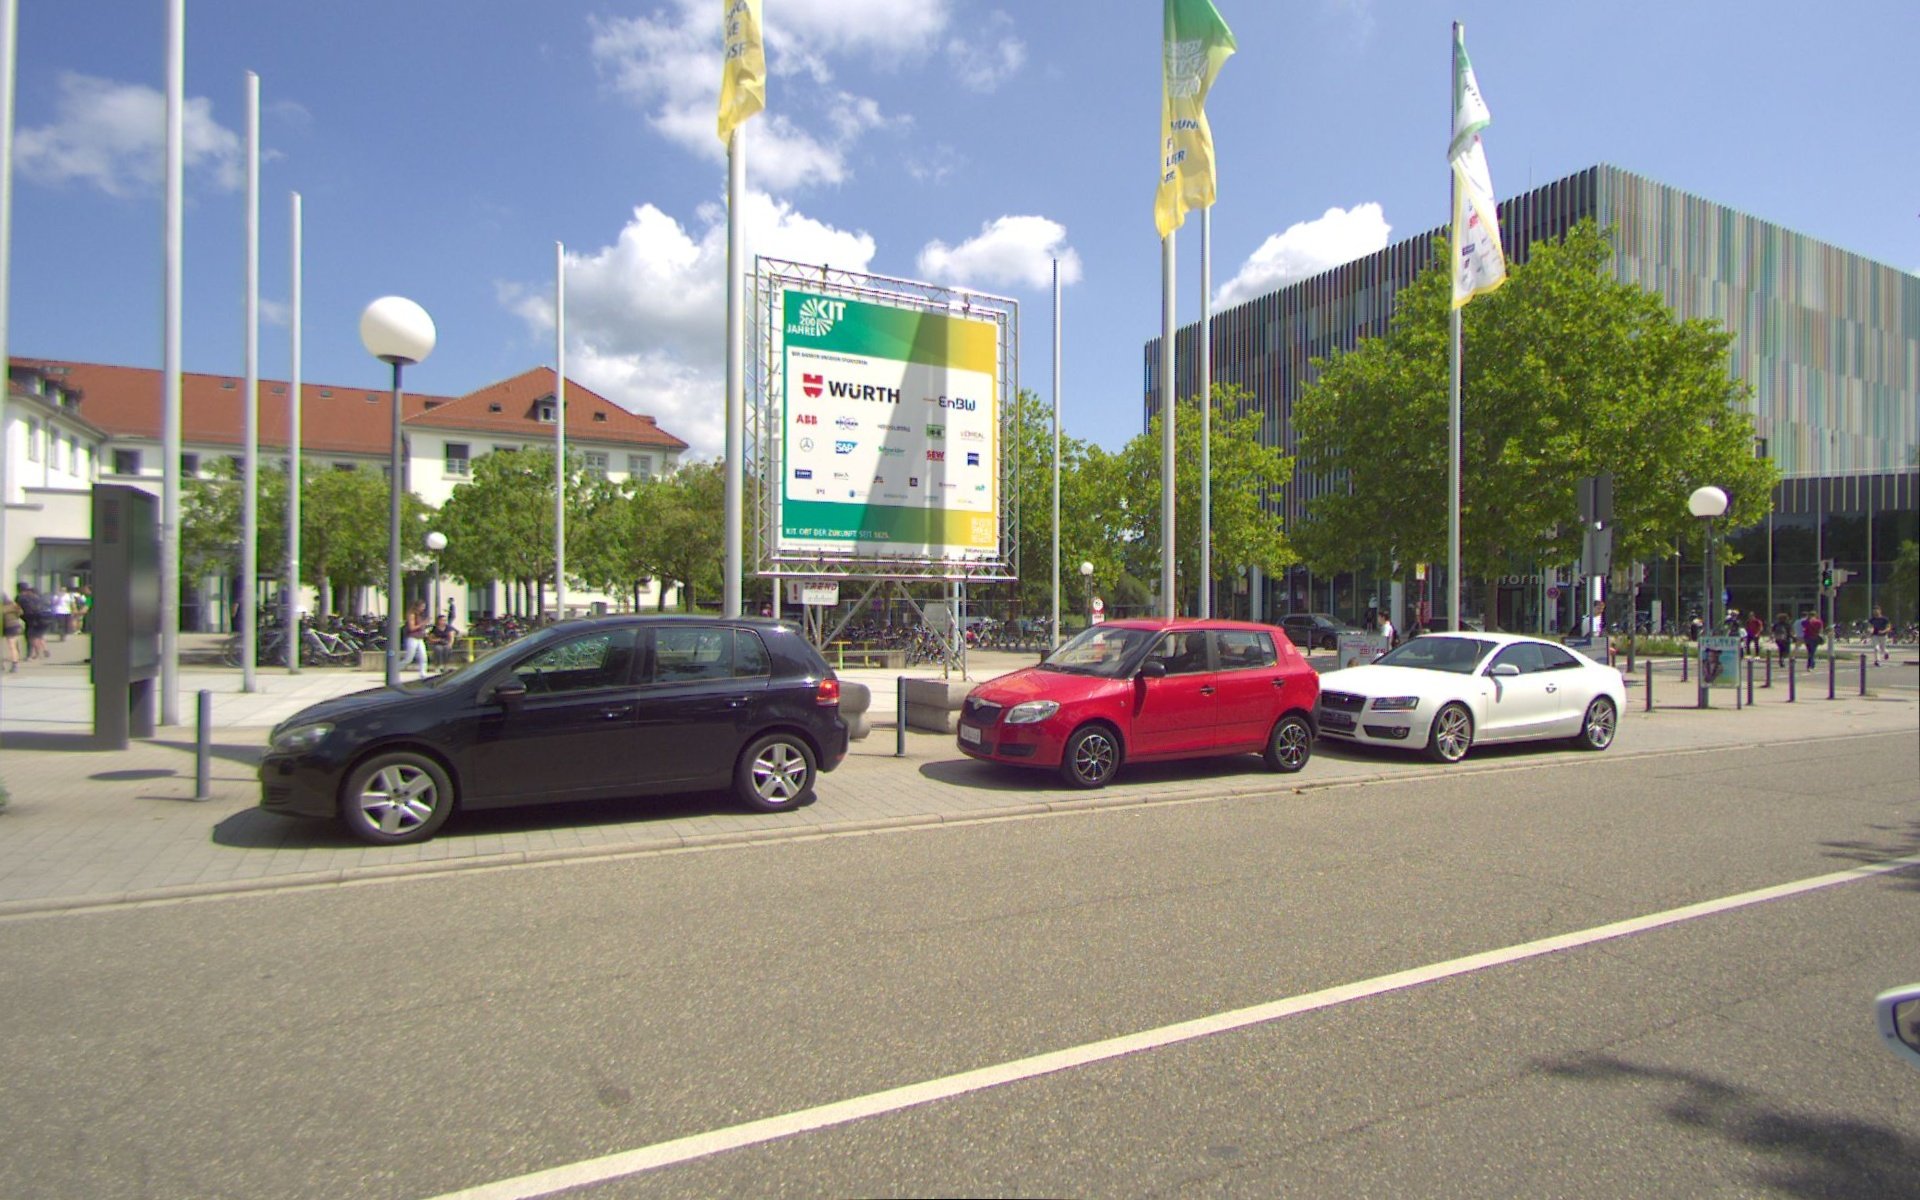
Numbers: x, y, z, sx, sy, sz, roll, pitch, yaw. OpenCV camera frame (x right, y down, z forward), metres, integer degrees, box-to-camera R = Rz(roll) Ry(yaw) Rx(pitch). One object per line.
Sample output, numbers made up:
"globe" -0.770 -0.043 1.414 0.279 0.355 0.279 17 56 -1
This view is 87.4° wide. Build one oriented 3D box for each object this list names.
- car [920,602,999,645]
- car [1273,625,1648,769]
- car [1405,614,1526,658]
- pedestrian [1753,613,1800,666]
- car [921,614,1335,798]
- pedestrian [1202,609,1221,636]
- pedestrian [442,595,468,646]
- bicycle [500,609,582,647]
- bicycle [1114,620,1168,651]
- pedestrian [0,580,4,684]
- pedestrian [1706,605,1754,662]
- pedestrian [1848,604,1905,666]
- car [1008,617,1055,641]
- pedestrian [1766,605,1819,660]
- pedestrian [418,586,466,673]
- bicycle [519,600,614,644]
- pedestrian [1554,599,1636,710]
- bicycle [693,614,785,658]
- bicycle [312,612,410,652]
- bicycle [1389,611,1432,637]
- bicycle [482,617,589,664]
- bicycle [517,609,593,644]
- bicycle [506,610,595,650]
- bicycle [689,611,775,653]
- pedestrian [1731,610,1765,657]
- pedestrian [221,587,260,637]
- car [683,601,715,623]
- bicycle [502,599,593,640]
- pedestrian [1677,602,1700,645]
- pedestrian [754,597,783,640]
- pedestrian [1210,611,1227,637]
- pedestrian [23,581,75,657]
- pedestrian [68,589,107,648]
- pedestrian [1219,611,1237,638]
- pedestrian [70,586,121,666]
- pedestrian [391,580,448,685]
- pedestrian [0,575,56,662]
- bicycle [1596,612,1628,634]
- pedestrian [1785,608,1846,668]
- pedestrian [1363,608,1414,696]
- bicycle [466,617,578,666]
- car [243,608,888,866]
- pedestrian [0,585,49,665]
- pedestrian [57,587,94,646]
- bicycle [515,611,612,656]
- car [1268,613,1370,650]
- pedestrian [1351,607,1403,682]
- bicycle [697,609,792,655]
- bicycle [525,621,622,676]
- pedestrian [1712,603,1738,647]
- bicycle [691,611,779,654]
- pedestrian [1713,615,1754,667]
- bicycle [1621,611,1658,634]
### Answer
"car" -0.072 1.130 49.125 1.843 1.965 4.740 0 -1 -29
"car" 6.129 1.050 12.199 4.602 1.414 1.670 1 1 -27
"car" 20.442 1.433 40.813 1.631 1.683 4.268 0 -1 -26
"pedestrian" 26.639 1.276 32.767 0.846 1.676 0.827 0 0 -8
"car" 1.712 0.930 10.083 3.860 1.487 1.670 1 1 -27
"pedestrian" 21.051 1.869 84.024 1.114 2.205 0.969 1 0 -28
"pedestrian" -22.690 0.921 45.122 1.029 2.229 1.016 0 -1 -29
"bicycle" -16.526 1.108 39.722 2.906 1.430 1.061 1 0 -20
"bicycle" 7.181 1.392 39.984 0.657 1.128 2.597 1 0 -29
"pedestrian" -16.821 0.544 17.058 0.727 1.780 0.756 0 -1 39
"pedestrian" 26.334 1.143 34.376 0.987 1.901 0.855 0 -1 -5
"pedestrian" 28.989 1.097 31.775 1.377 1.880 0.702 -1 0 -19
"car" 4.788 1.925 67.518 1.616 1.506 3.981 0 -1 -21
"pedestrian" 28.383 1.113 34.258 1.075 1.843 0.863 0 -1 -4
"pedestrian" -12.102 0.680 23.472 0.934 1.966 0.980 1 -1 -31
"bicycle" -13.417 0.756 34.359 2.903 1.430 1.062 1 0 -17
"pedestrian" 11.126 0.933 17.606 1.073 1.876 0.718 0 1 -24
"bicycle" -7.440 1.196 33.861 2.906 1.430 1.061 1 0 -20
"bicycle" -22.126 1.174 37.194 2.906 1.430 1.143 1 0 -20
"bicycle" 32.697 1.758 72.972 2.904 1.863 1.014 1 0 -18
"bicycle" -13.422 1.264 31.842 2.895 1.430 1.147 1 0 -6
"bicycle" -17.058 1.113 42.358 2.906 1.430 1.061 1 0 -20
"bicycle" -15.036 1.106 36.972 2.903 1.430 1.062 1 0 -17
"bicycle" -8.203 1.146 36.095 2.906 1.430 1.061 1 0 -20
"pedestrian" 28.952 1.226 36.911 0.746 1.700 0.750 0 -1 -28
"pedestrian" -30.039 0.493 41.954 0.904 2.040 1.059 0 -1 -3
"car" -24.322 1.135 93.576 1.843 1.965 4.367 0 -1 -29
"bicycle" -14.705 0.705 35.891 2.903 1.430 1.062 1 0 -17
"pedestrian" 44.854 1.420 61.857 0.957 2.599 1.013 1 0 27
"pedestrian" -10.219 0.985 53.676 1.023 2.229 1.157 0 -1 31
"pedestrian" 22.176 2.069 86.170 1.002 2.231 0.969 1 0 -27
"pedestrian" -22.646 0.467 24.977 0.688 1.861 0.760 1 0 29
"pedestrian" -33.515 0.704 38.588 0.956 2.229 0.960 -1 -1 40
"pedestrian" 22.227 2.060 83.256 1.114 2.205 0.969 1 0 -28
"pedestrian" -19.832 0.594 23.052 0.729 1.797 0.754 1 -1 -29
"pedestrian" -10.873 0.642 20.196 0.977 2.040 1.051 1 -1 -31
"pedestrian" -22.229 0.434 23.975 0.726 2.040 0.757 1 0 -22
"bicycle" 38.795 1.382 59.815 1.178 1.254 2.948 1 0 25
"pedestrian" 26.401 1.166 31.006 1.244 1.831 0.807 0 -1 -11
"pedestrian" 9.410 1.118 22.071 0.760 1.884 0.717 0 -1 -26
"bicycle" -13.330 1.258 30.649 2.895 1.430 1.147 1 0 -6
"car" -2.806 0.854 7.716 4.141 1.487 1.742 1 1 -26
"pedestrian" -19.537 0.507 20.820 0.722 1.635 0.733 1 0 22
"pedestrian" -30.805 0.569 34.985 0.723 2.040 0.760 1 0 30
"bicycle" -13.095 1.109 33.293 2.903 1.430 1.062 1 0 -17
"car" 16.989 1.469 47.782 1.631 1.683 4.794 0 -1 -26
"pedestrian" 9.578 1.010 23.102 0.736 1.673 0.840 0 -1 -26
"bicycle" -7.031 1.036 32.767 2.906 1.430 1.061 1 0 -20
"bicycle" -9.098 1.131 23.688 2.068 1.232 0.646 1 0 -28
"pedestrian" 46.058 1.479 60.449 0.956 2.599 1.014 1 0 20
"bicycle" -7.845 1.128 35.020 2.906 1.430 1.061 1 0 -20
"pedestrian" 24.659 1.295 32.015 0.788 1.619 0.768 0 -1 -26
"bicycle" 40.008 1.309 59.190 1.352 1.254 2.948 1 0 26
